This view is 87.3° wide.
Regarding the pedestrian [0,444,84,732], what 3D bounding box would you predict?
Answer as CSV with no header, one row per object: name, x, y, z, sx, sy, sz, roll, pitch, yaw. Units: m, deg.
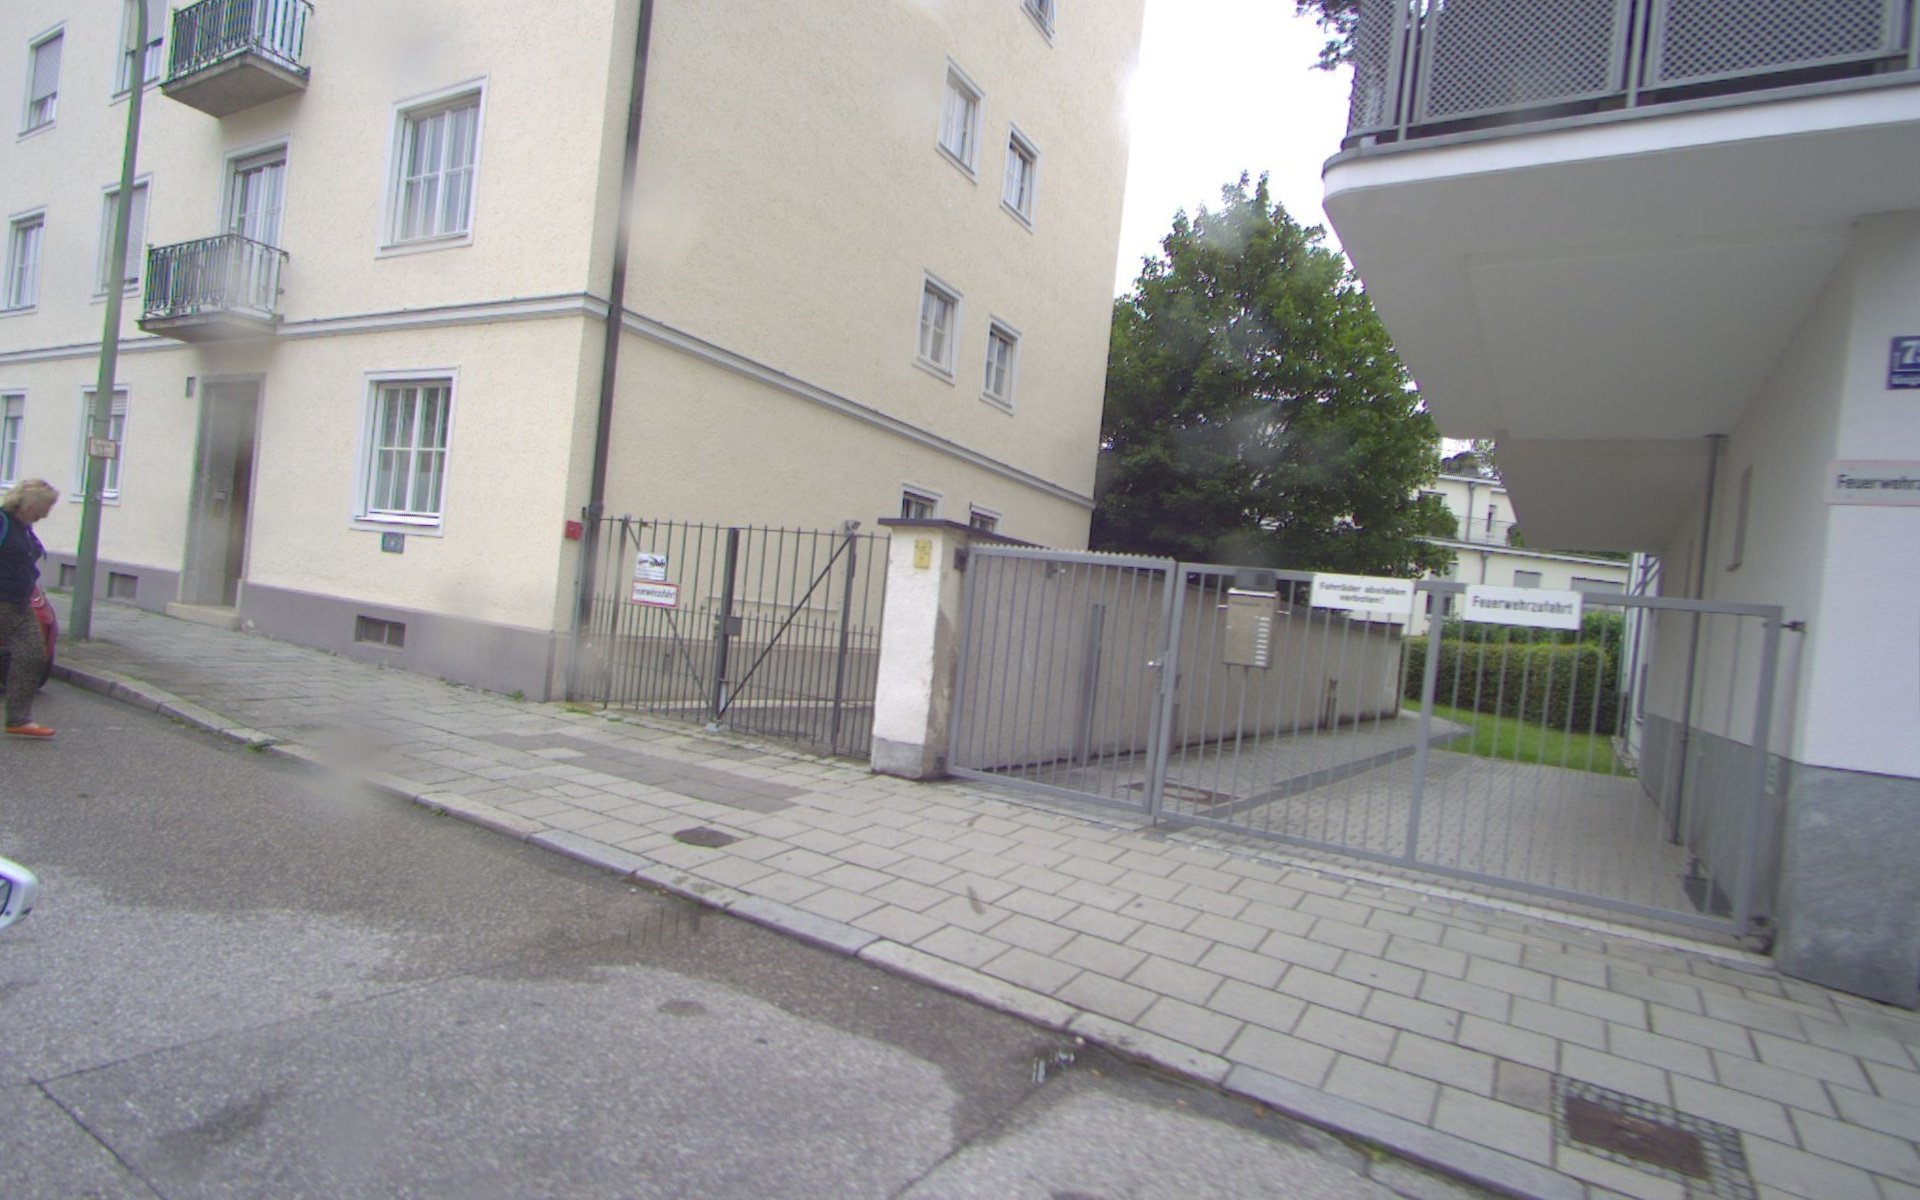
pedestrian,-6.211,-0.090,6.409,0.665,1.747,0.791,6,-2,-31

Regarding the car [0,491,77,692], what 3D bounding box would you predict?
car,-9.096,-0.248,8.314,3.738,1.527,1.597,6,-1,32
